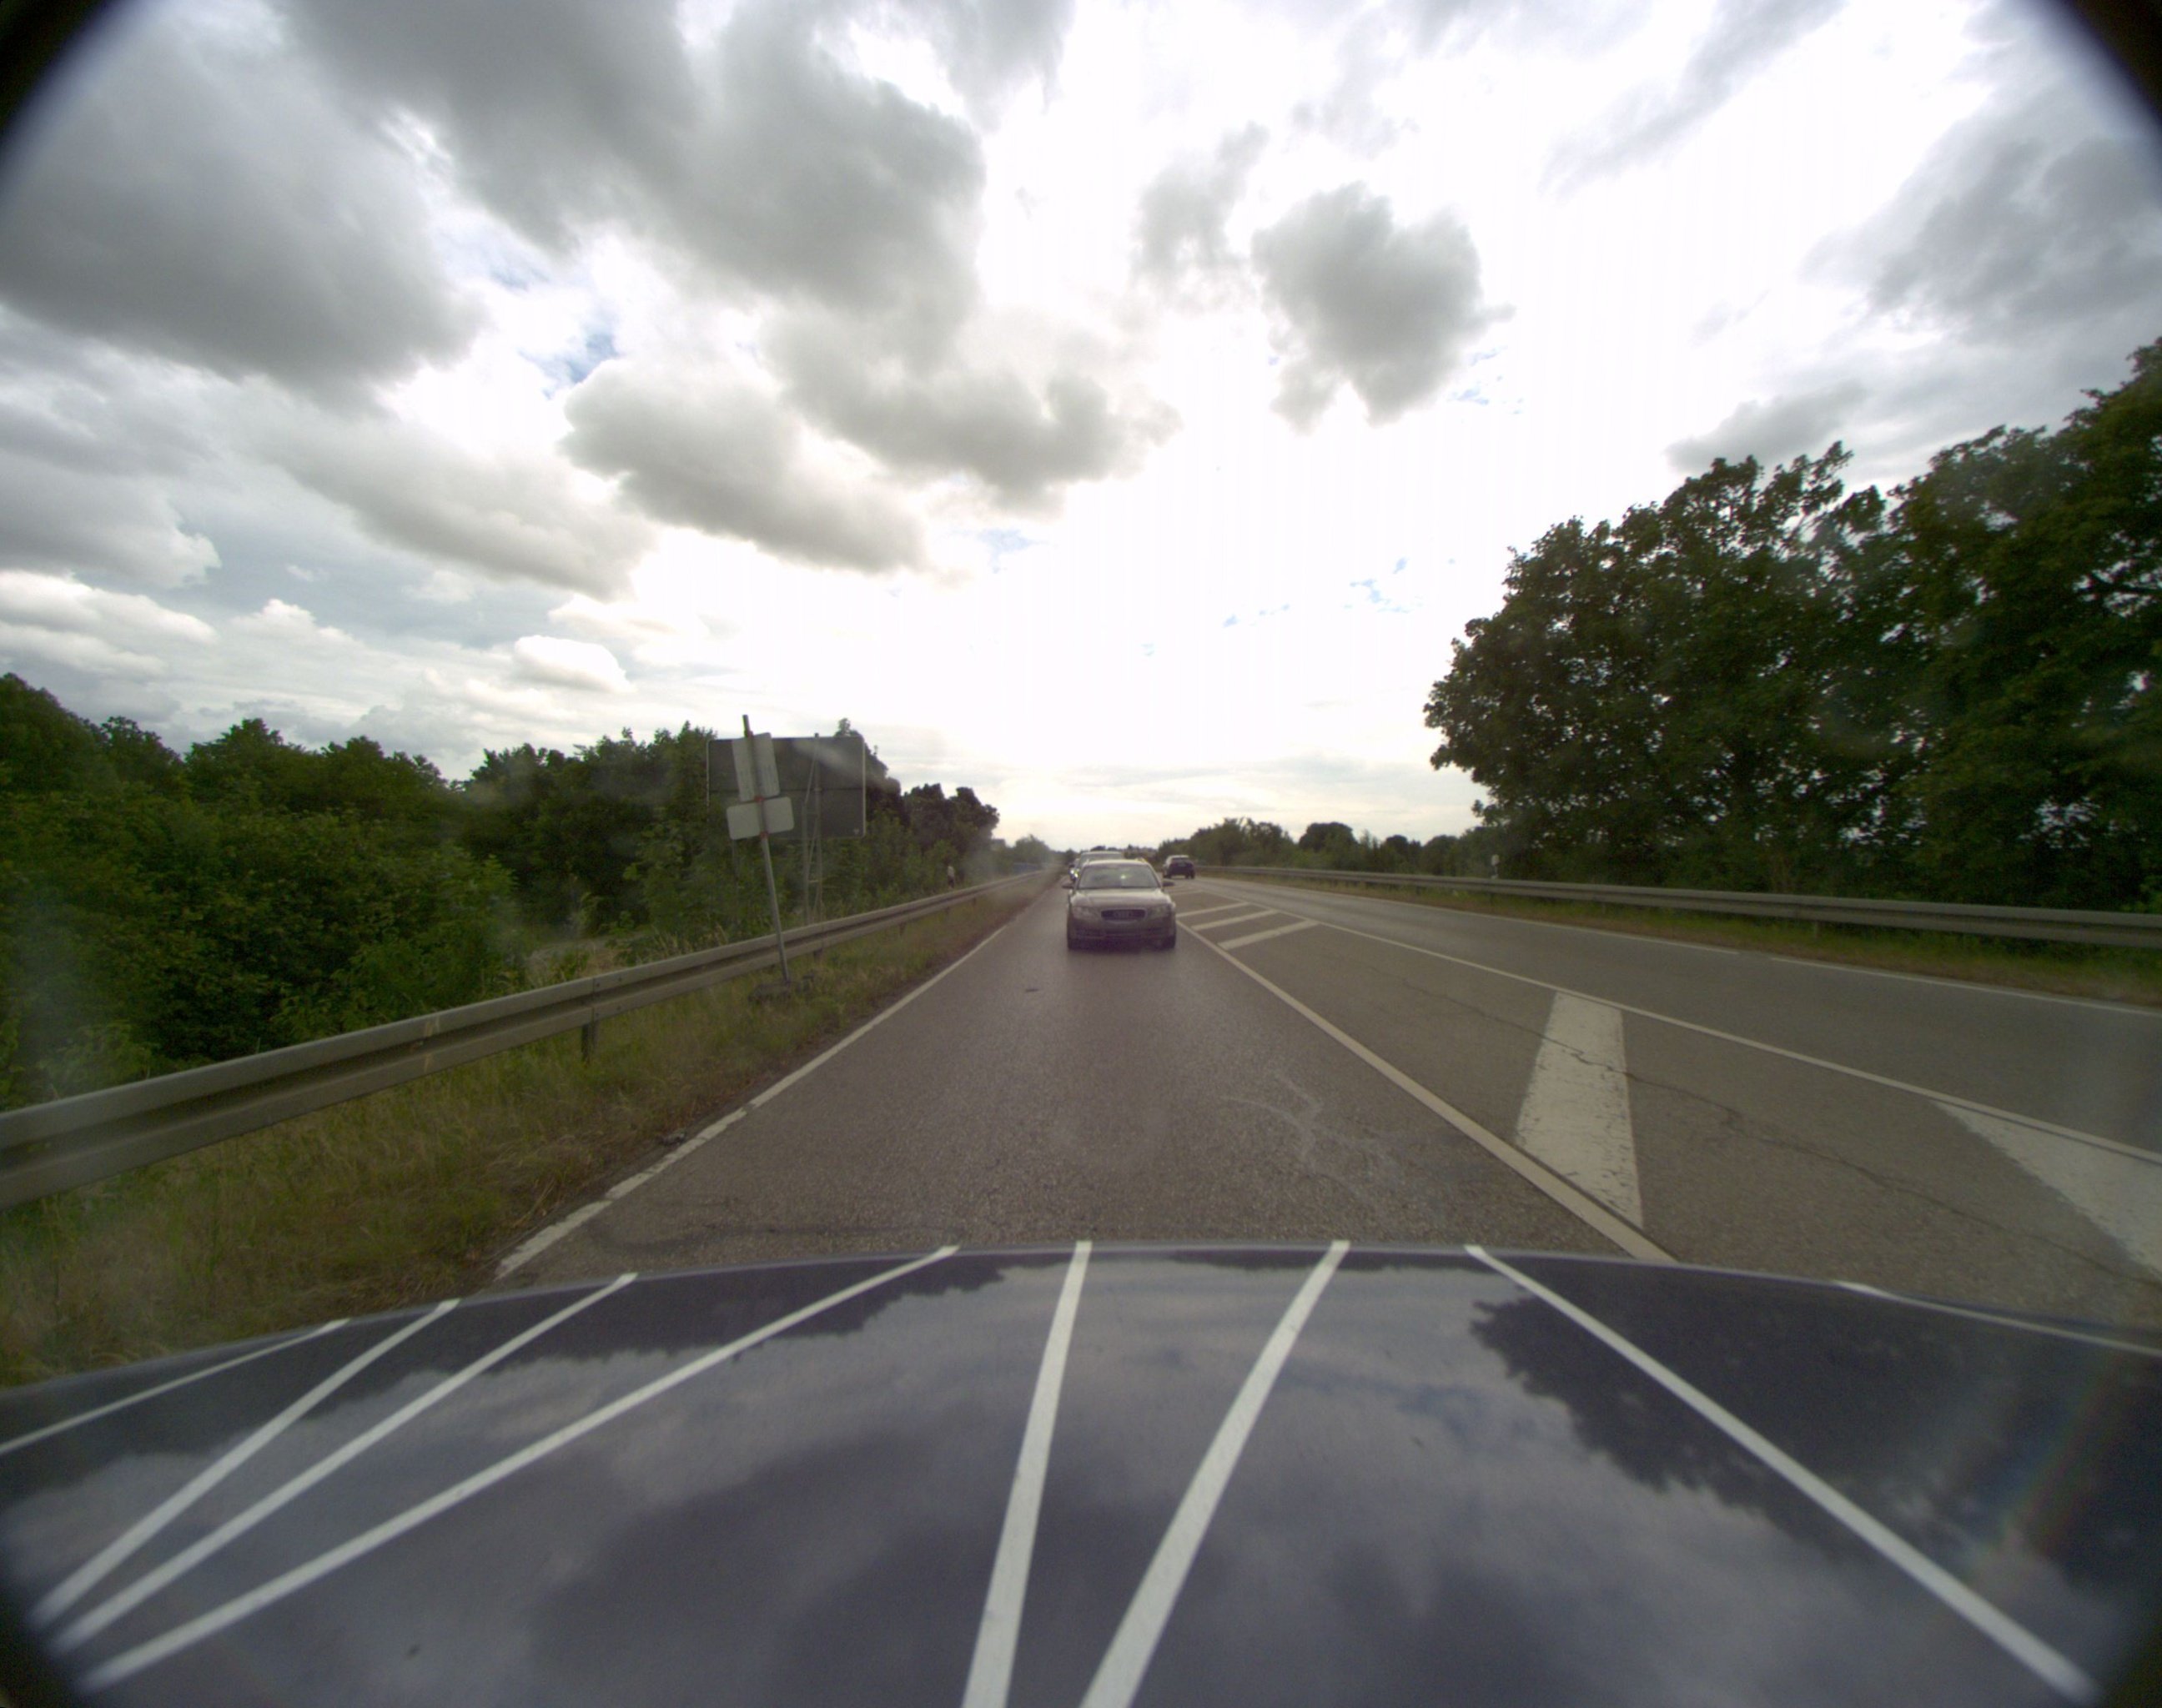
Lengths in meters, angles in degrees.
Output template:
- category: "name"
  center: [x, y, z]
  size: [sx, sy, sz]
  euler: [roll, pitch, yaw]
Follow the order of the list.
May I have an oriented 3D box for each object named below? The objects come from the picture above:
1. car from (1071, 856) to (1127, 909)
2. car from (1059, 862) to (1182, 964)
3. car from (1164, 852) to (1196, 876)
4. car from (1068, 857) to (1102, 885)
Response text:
- category: "car"
  center: [0.577, 0.846, 24.360]
  size: [1.603, 1.494, 3.962]
  euler: [-2, 0, 1]
- category: "car"
  center: [0.575, 0.889, 13.091]
  size: [1.768, 1.383, 3.876]
  euler: [-2, 0, 0]
- category: "car"
  center: [6.820, 0.651, 52.566]
  size: [1.714, 1.509, 4.209]
  euler: [-2, 0, 1]
- category: "car"
  center: [0.191, 0.833, 40.021]
  size: [1.670, 1.339, 4.000]
  euler: [-2, 0, 0]
